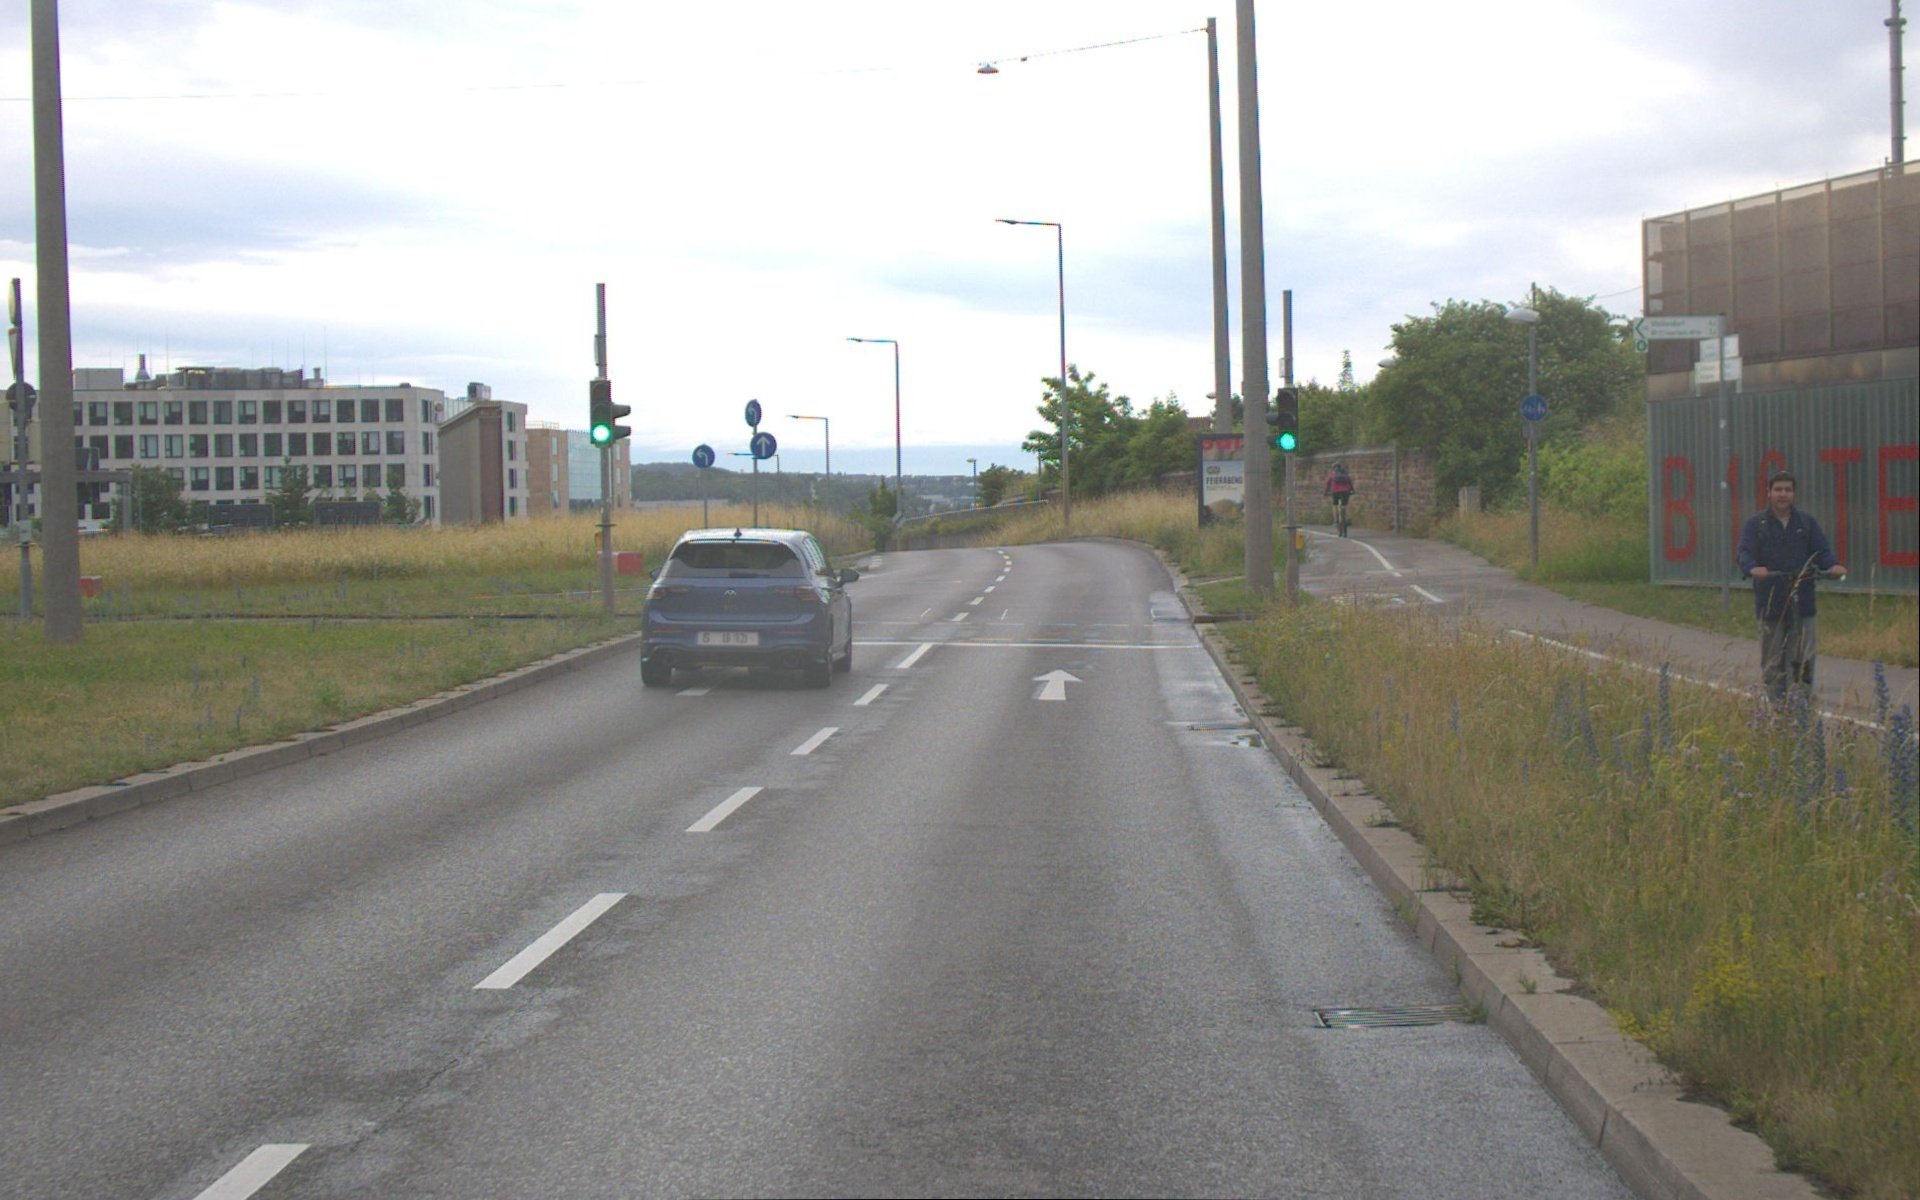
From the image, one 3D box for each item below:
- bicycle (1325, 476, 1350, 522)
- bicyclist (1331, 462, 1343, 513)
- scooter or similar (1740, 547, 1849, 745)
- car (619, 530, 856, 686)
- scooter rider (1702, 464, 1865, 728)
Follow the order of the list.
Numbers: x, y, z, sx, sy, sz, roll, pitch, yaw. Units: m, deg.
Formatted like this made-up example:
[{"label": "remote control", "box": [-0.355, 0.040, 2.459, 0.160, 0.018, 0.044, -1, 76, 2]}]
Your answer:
[{"label": "bicycle", "box": [8.792, -2.354, 79.988, 0.551, 1.064, 0.615, 0, 2, 4]}, {"label": "bicyclist", "box": [8.780, -2.613, 80.029, 0.265, 1.191, 0.315, 0, 2, 4]}, {"label": "scooter or similar", "box": [5.263, 0.276, 21.722, 0.401, 1.192, 1.114, 2, 2, 1]}, {"label": "car", "box": [-2.064, 0.034, 32.944, 1.838, 1.389, 4.000, 0, 1, 3]}, {"label": "scooter rider", "box": [5.235, -0.037, 21.896, 0.806, 1.623, 0.828, -2, 1, 1]}]
